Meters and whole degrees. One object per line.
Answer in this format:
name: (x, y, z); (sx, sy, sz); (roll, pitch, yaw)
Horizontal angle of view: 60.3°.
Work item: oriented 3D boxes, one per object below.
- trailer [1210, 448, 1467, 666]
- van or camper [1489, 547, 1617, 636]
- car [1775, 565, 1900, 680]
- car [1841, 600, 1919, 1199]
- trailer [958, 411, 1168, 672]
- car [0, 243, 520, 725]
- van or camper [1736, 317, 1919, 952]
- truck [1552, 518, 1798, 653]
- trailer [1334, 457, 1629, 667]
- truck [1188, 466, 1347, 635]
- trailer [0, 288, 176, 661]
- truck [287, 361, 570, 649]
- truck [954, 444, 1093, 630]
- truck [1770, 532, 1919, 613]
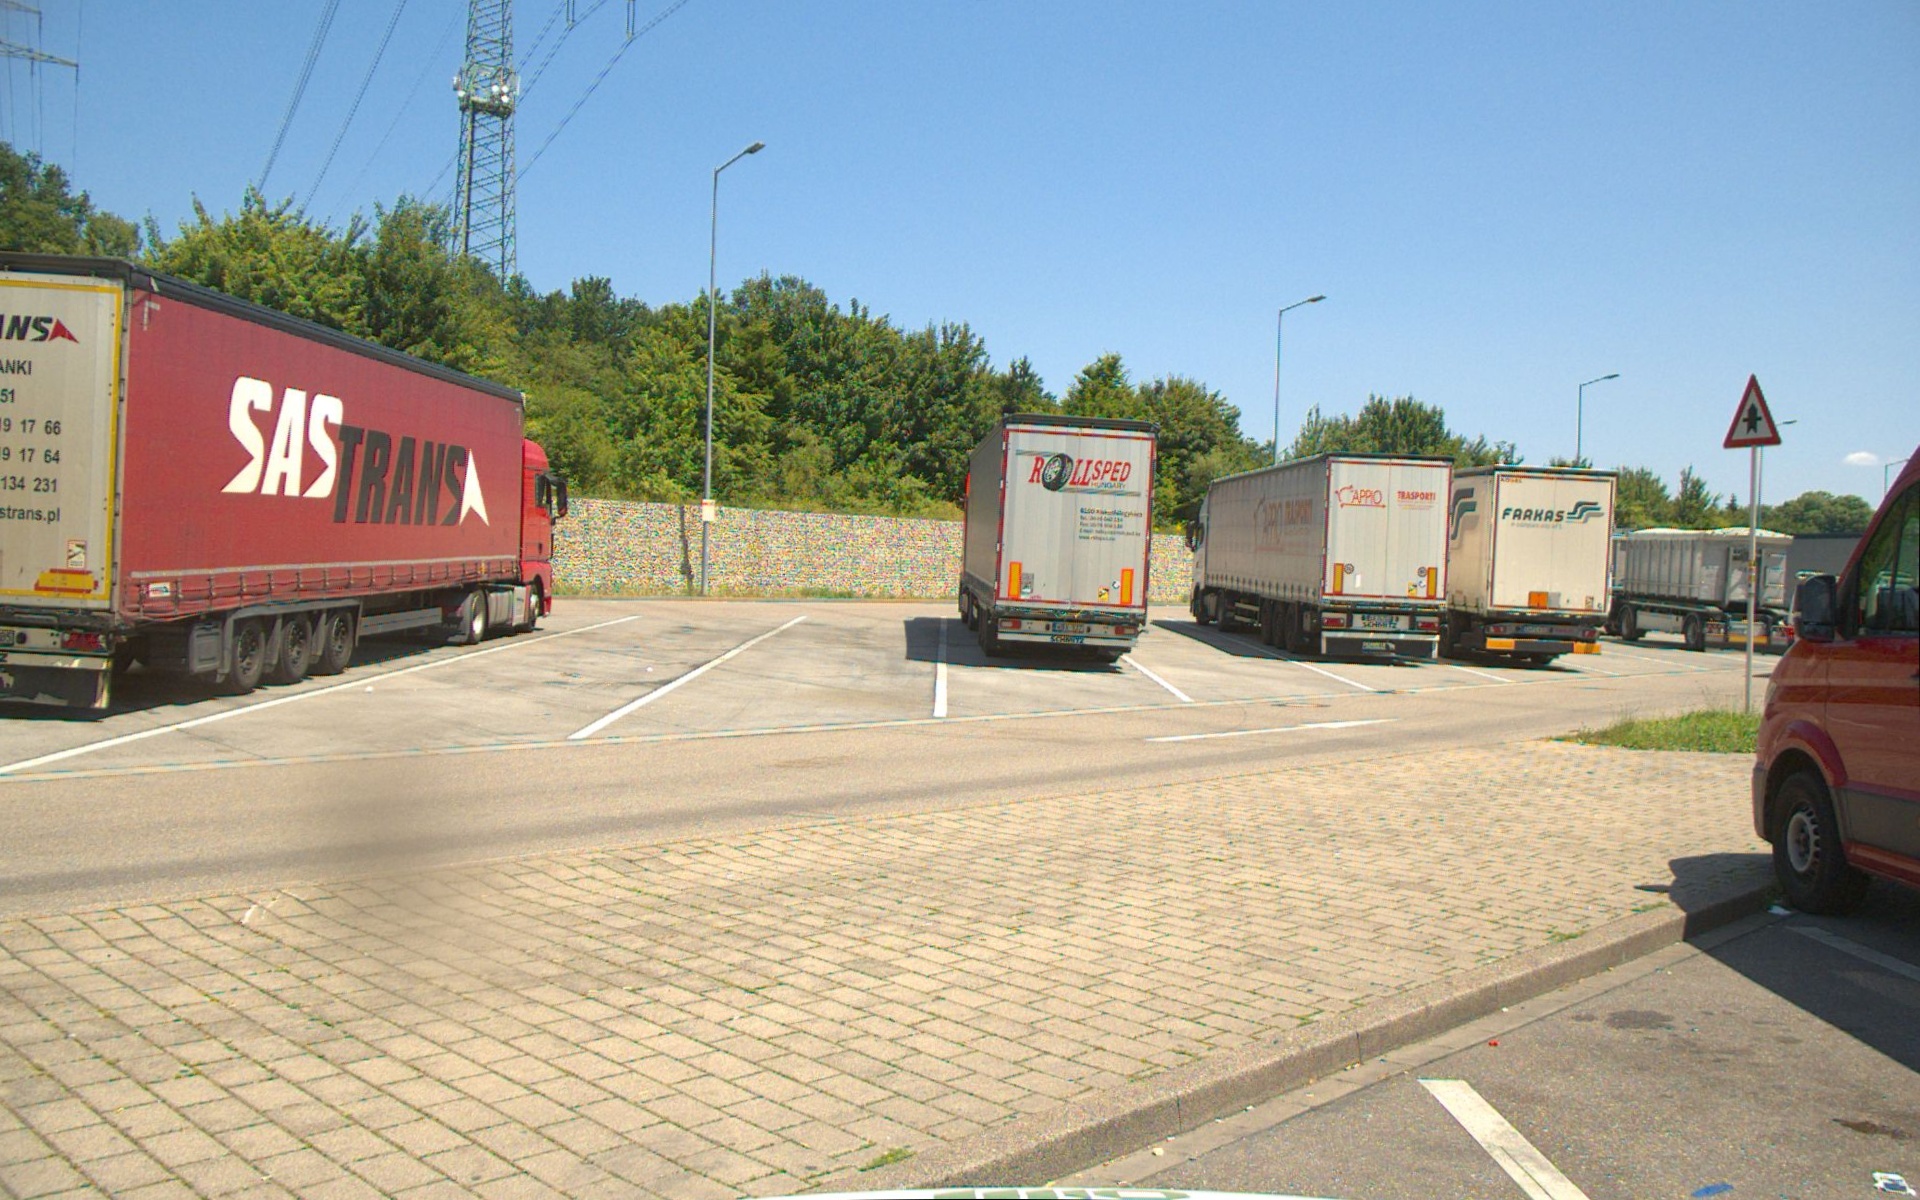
trailer: (8.238, -1.086, 38.132); (2.808, 4.107, 12.438); (2, 2, -1)
van or camper: (18.448, -0.296, 51.729); (2.061, 2.606, 5.372); (1, 1, 0)
car: (18.455, 0.397, 34.673); (1.957, 2.187, 5.300); (1, 1, 32)
car: (2.540, 0.803, 1.138); (1.584, 1.509, 3.762); (1, 1, -6)
trailer: (1.647, -1.238, 33.696); (2.809, 4.107, 14.238); (2, 2, -2)
car: (-8.680, -1.279, 20.984); (2.641, 4.184, 12.935); (2, 2, 0)
van or camper: (4.988, 0.181, 5.586); (1.954, 2.700, 6.482); (1, 1, 3)
truck: (21.738, -0.645, 51.274); (2.437, 3.630, 11.423); (2, 2, -1)
trailer: (11.815, -1.020, 39.250); (2.808, 4.107, 12.438); (2, 2, -1)
truck: (8.158, -1.383, 44.763); (2.808, 4.107, 6.956); (2, 2, -1)
trailer: (-12.550, -1.404, 17.185); (2.756, 4.340, 12.940); (2, 2, -1)
truck: (-8.703, -1.529, 27.901); (2.641, 4.184, 6.239); (2, 2, 0)
truck: (1.416, -1.565, 40.776); (2.809, 4.107, 7.026); (2, 2, -2)
truck: (34.689, -1.062, 63.669); (2.082, 2.869, 9.777); (1, 1, -1)
